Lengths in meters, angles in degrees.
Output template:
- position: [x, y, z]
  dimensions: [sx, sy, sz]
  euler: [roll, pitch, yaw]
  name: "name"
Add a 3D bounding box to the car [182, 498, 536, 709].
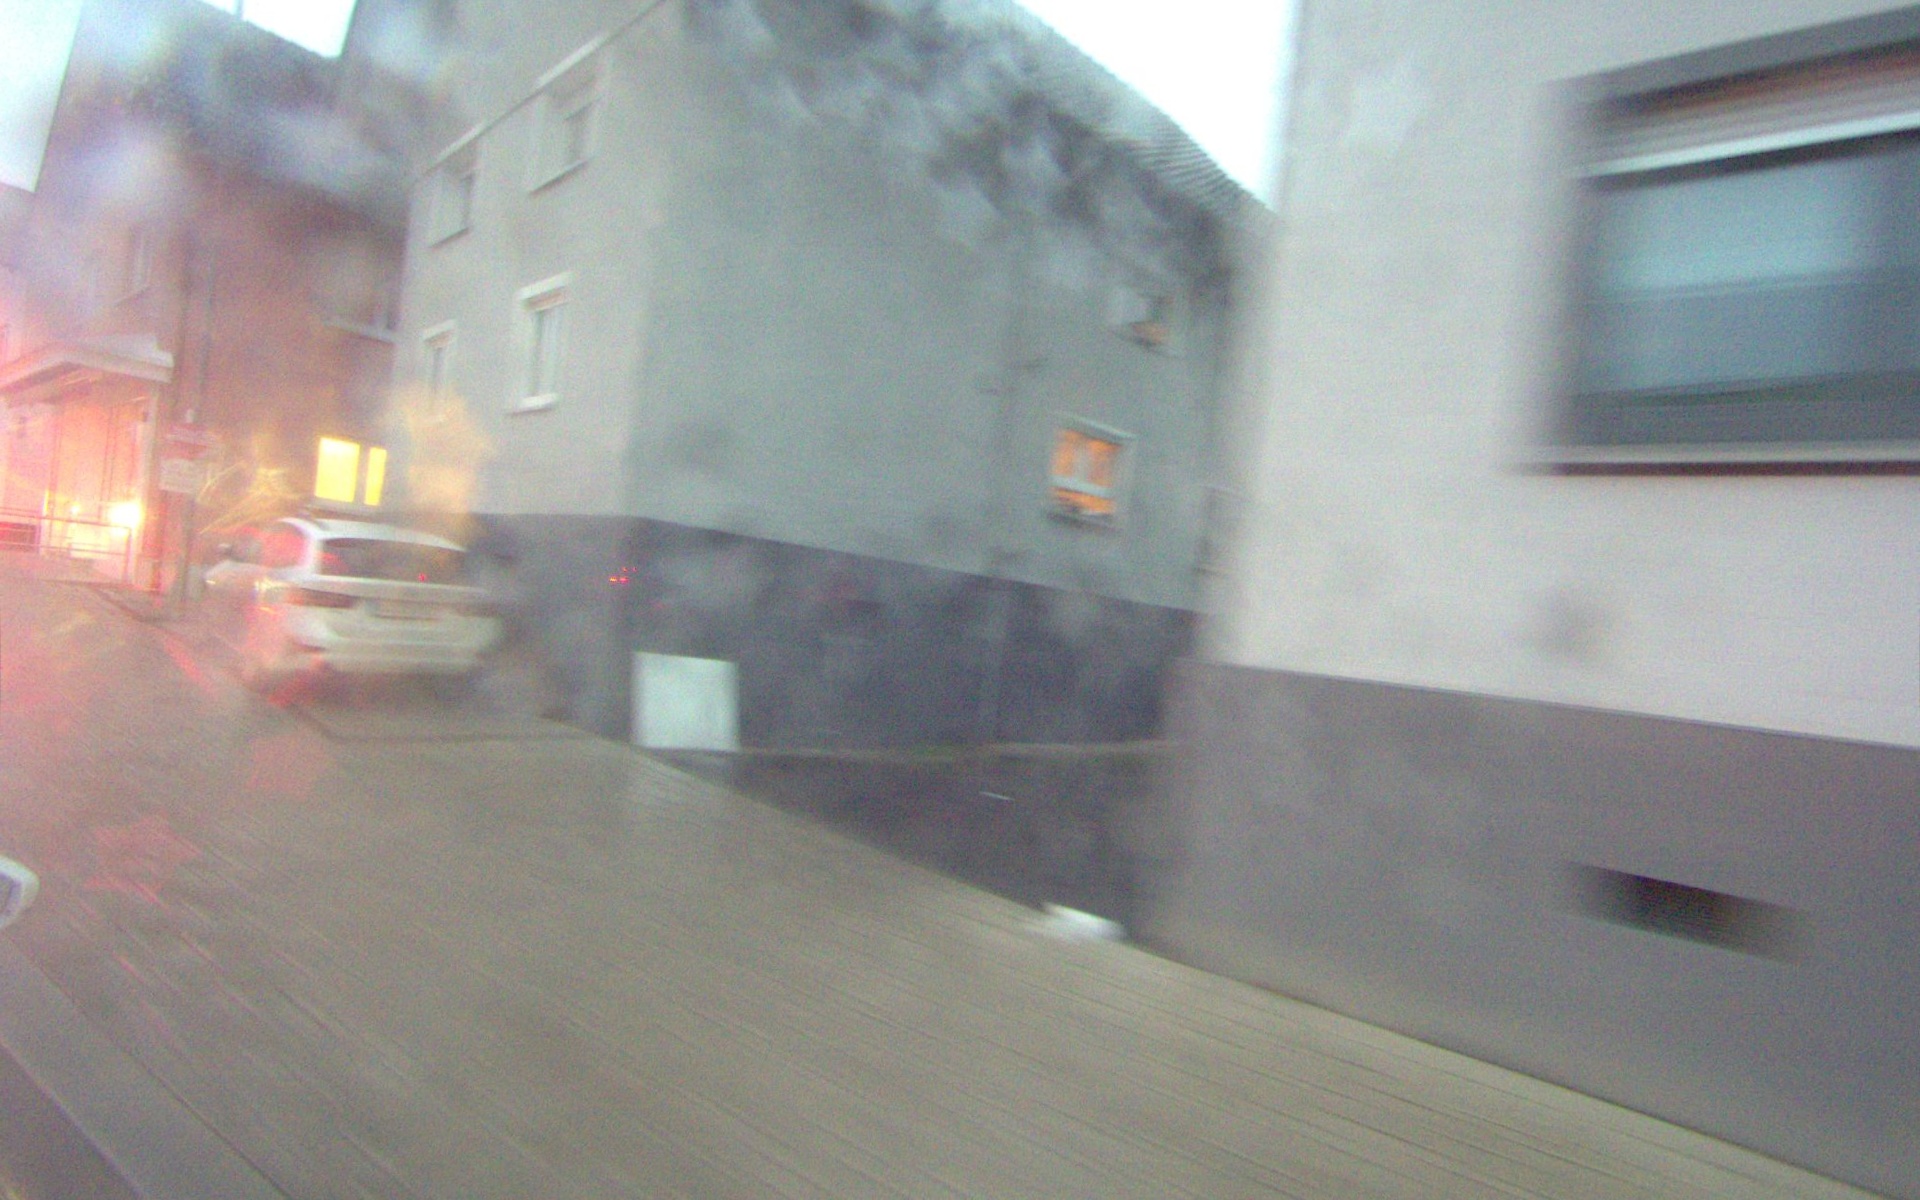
- position: [-5.919, -0.066, 9.612]
  dimensions: [1.877, 1.485, 4.485]
  euler: [5, 1, -44]
  name: "car"
